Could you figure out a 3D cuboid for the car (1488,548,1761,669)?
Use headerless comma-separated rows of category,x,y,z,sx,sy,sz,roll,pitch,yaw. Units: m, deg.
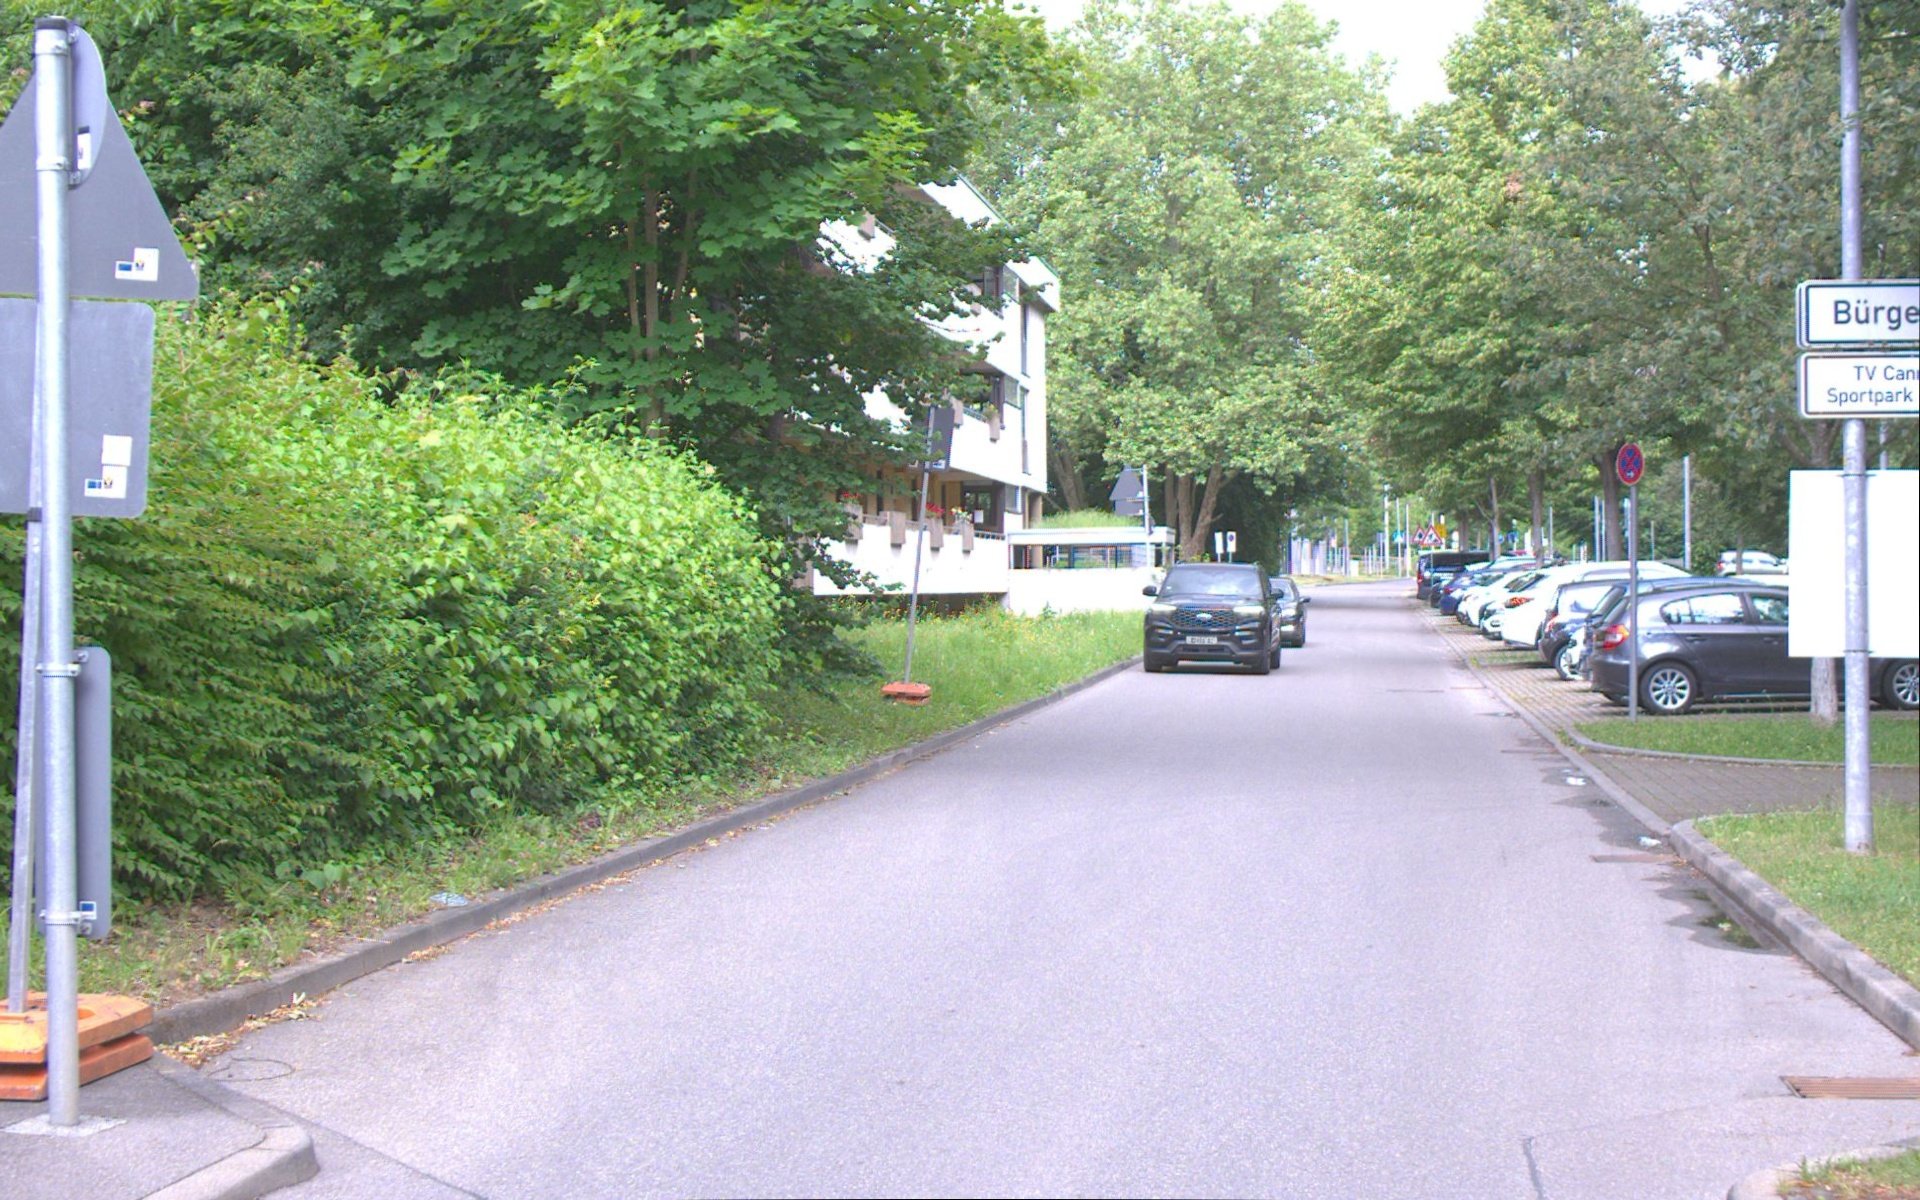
car,10.795,0.128,56.058,4.063,1.682,1.822,-4,0,4

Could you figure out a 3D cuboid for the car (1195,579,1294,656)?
car,5.997,0.342,72.056,1.969,1.570,4.337,0,0,6

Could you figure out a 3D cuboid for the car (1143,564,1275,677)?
car,4.034,0.305,55.112,1.969,1.741,4.337,0,0,6

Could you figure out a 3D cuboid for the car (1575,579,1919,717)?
car,9.070,0.545,38.711,4.064,1.429,1.999,-2,-2,6

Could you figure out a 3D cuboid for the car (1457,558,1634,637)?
car,14.505,-0.060,85.330,4.063,1.682,1.822,-4,0,4

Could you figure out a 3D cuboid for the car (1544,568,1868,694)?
car,10.017,0.409,46.419,4.064,1.563,1.822,-2,0,6

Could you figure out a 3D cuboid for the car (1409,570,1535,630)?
car,17.627,0.000,118.450,4.063,1.765,1.822,-4,0,4

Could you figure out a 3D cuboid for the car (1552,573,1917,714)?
car,9.277,0.537,41.455,4.064,1.563,1.822,-2,-2,6

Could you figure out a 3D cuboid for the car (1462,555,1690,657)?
car,11.887,0.112,66.520,4.063,1.682,1.822,-4,0,4

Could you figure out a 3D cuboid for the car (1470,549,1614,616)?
car,17.779,-0.529,105.101,4.063,1.765,1.822,-4,0,4

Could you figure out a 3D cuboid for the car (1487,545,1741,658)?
car,11.386,0.024,60.091,4.063,1.682,1.822,-4,0,4

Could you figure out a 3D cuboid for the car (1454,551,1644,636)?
car,13.624,-0.144,79.648,4.063,1.682,1.822,-4,0,4

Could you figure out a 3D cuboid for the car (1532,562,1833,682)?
car,10.682,0.317,51.021,4.063,1.483,1.822,-4,0,4
